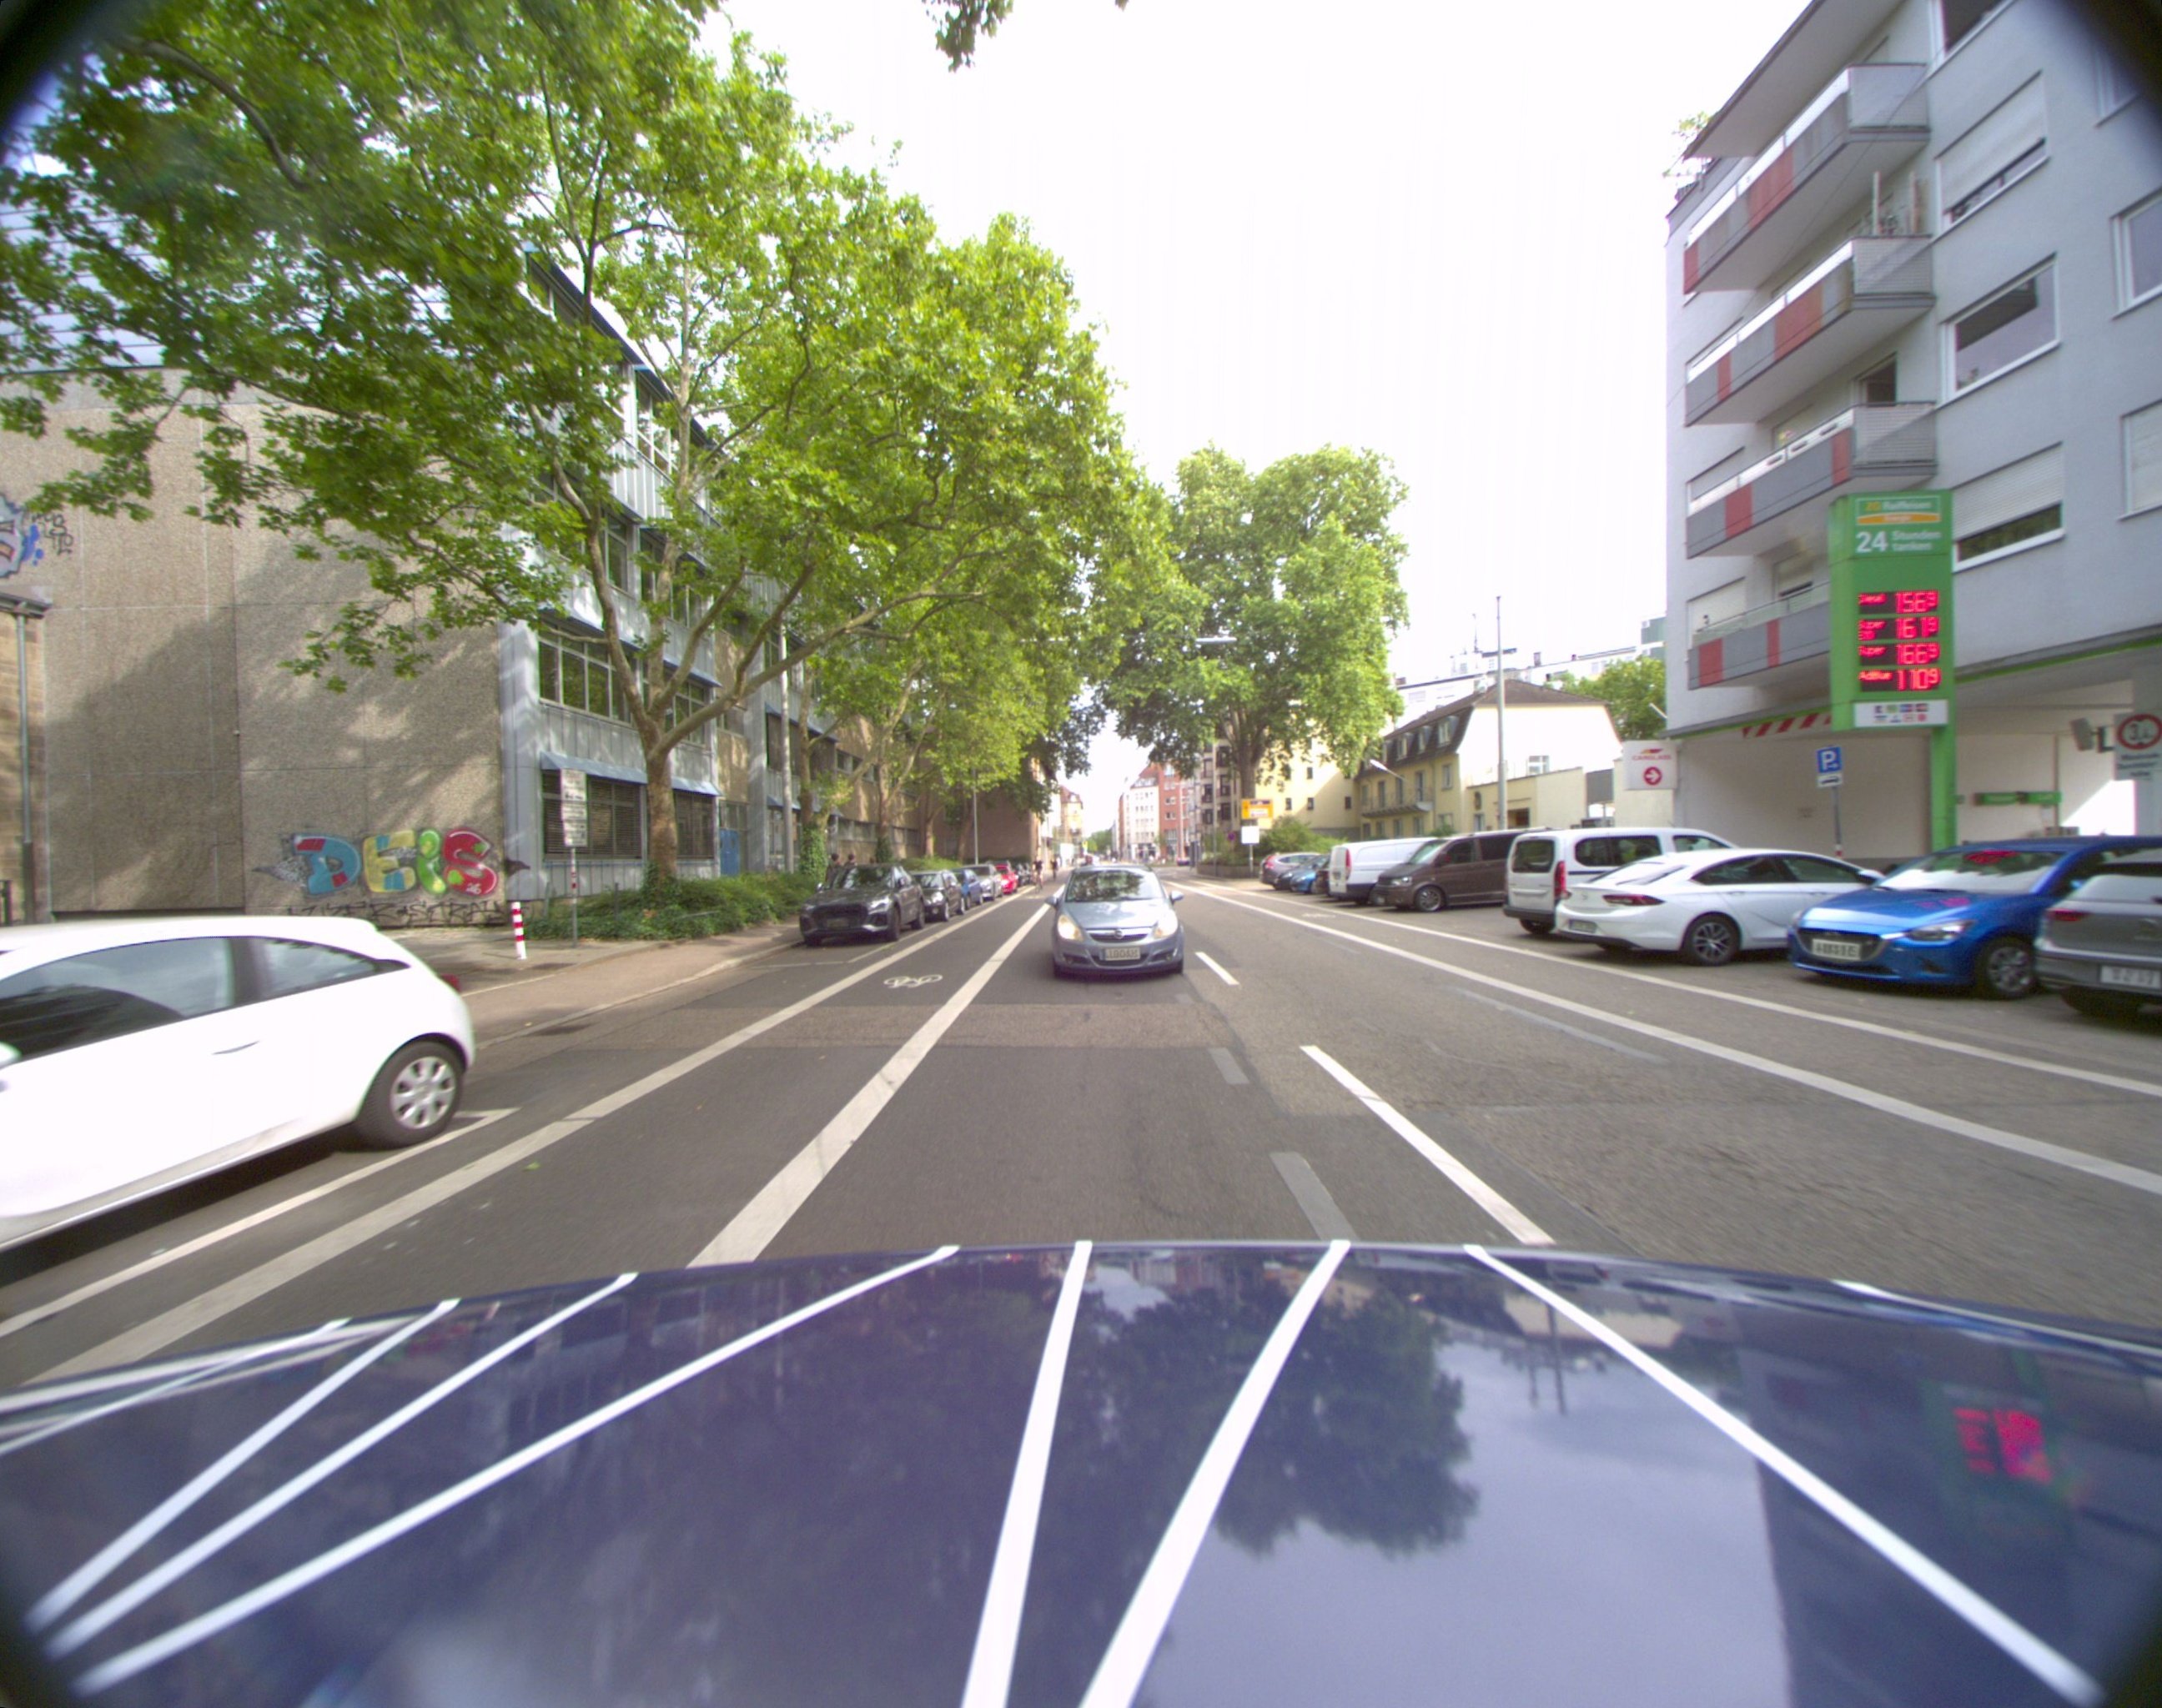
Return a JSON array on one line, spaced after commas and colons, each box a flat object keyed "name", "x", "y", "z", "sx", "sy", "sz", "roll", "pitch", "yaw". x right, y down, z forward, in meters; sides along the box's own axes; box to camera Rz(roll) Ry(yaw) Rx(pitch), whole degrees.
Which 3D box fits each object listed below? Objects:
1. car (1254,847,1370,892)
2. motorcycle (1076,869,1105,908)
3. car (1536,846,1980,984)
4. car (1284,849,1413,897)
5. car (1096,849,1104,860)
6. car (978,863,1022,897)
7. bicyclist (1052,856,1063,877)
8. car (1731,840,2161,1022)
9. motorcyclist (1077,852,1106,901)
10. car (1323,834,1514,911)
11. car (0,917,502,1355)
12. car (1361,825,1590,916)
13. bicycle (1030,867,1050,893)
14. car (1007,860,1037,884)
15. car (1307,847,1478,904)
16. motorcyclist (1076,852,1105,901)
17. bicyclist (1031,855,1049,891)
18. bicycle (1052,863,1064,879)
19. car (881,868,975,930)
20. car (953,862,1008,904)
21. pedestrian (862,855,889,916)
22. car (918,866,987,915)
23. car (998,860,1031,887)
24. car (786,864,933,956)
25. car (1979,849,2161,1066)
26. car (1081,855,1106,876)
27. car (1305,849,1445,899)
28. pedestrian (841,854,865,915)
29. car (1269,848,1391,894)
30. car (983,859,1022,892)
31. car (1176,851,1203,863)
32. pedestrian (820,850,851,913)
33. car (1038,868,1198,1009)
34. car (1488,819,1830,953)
[{"name": "car", "x": 10.134, "y": 0.670, "z": 33.571, "sx": 4.529, "sy": 1.596, "sz": 1.754, "roll": -4, "pitch": 0, "yaw": 2}, {"name": "motorcycle", "x": 0.322, "y": 1.124, "z": 25.554, "sx": 0.904, "sy": 1.190, "sz": 2.630, "roll": -1, "pitch": 0, "yaw": 1}, {"name": "car", "x": 8.930, "y": 0.756, "z": 10.341, "sx": 4.281, "sy": 1.442, "sz": 1.874, "roll": -4, "pitch": 0, "yaw": 1}, {"name": "car", "x": 10.190, "y": 0.698, "z": 29.127, "sx": 4.276, "sy": 1.502, "sz": 1.719, "roll": -4, "pitch": 0, "yaw": 2}, {"name": "car", "x": 4.526, "y": 0.132, "z": 181.409, "sx": 1.998, "sy": 2.546, "sz": 4.799, "roll": -2, "pitch": 0, "yaw": 1}, {"name": "car", "x": -3.931, "y": 1.237, "z": 37.522, "sx": 1.602, "sy": 1.438, "sz": 4.105, "roll": -3, "pitch": 0, "yaw": 1}, {"name": "bicyclist", "x": -1.808, "y": 0.955, "z": 59.424, "sx": 0.749, "sy": 1.590, "sz": 0.819, "roll": -2, "pitch": 1, "yaw": 1}, {"name": "car", "x": 9.848, "y": 0.705, "z": 7.973, "sx": 4.311, "sy": 1.442, "sz": 1.910, "roll": -4, "pitch": 0, "yaw": 1}, {"name": "motorcyclist", "x": 0.360, "y": 0.756, "z": 25.642, "sx": 0.904, "sy": 1.608, "sz": 0.691, "roll": -1, "pitch": 1, "yaw": 0}, {"name": "car", "x": 9.731, "y": 0.515, "z": 22.200, "sx": 4.627, "sy": 1.848, "sz": 1.950, "roll": -4, "pitch": 0, "yaw": 2}, {"name": "car", "x": -4.950, "y": 1.203, "z": 3.122, "sx": 1.758, "sy": 1.438, "sz": 4.218, "roll": -3, "pitch": 0, "yaw": 1}, {"name": "car", "x": 10.086, "y": 0.421, "z": 19.727, "sx": 4.778, "sy": 1.923, "sz": 1.994, "roll": -4, "pitch": 0, "yaw": 2}, {"name": "bicycle", "x": -1.980, "y": 1.257, "z": 36.864, "sx": 0.763, "sy": 1.162, "sz": 1.950, "roll": -2, "pitch": 0, "yaw": 1}, {"name": "car", "x": -4.017, "y": 1.208, "z": 52.346, "sx": 1.602, "sy": 1.516, "sz": 3.956, "roll": -3, "pitch": 0, "yaw": 1}, {"name": "car", "x": 9.979, "y": 0.674, "z": 24.636, "sx": 4.716, "sy": 1.461, "sz": 1.874, "roll": -4, "pitch": 0, "yaw": 2}, {"name": "motorcyclist", "x": 0.318, "y": 0.757, "z": 25.554, "sx": 0.904, "sy": 1.608, "sz": 0.691, "roll": -1, "pitch": 1, "yaw": 0}, {"name": "bicyclist", "x": -1.986, "y": 0.909, "z": 36.882, "sx": 0.764, "sy": 1.699, "sz": 0.917, "roll": -2, "pitch": 1, "yaw": 1}, {"name": "bicycle", "x": -1.804, "y": 1.323, "z": 59.421, "sx": 0.763, "sy": 1.162, "sz": 1.950, "roll": -2, "pitch": 0, "yaw": 1}, {"name": "car", "x": -4.326, "y": 1.219, "z": 22.182, "sx": 1.643, "sy": 1.424, "sz": 4.573, "roll": -3, "pitch": 0, "yaw": 1}, {"name": "car", "x": -4.175, "y": 1.160, "z": 32.159, "sx": 1.602, "sy": 1.496, "sz": 4.440, "roll": -3, "pitch": 0, "yaw": 1}, {"name": "pedestrian", "x": -6.088, "y": 0.931, "z": 22.506, "sx": 0.592, "sy": 1.775, "sz": 0.476, "roll": 2, "pitch": 1, "yaw": 0}, {"name": "car", "x": -4.417, "y": 1.220, "z": 26.684, "sx": 1.602, "sy": 1.414, "sz": 3.956, "roll": -3, "pitch": 0, "yaw": 1}, {"name": "car", "x": -4.136, "y": 1.192, "z": 47.635, "sx": 1.602, "sy": 1.516, "sz": 3.956, "roll": -3, "pitch": 0, "yaw": 1}, {"name": "car", "x": -4.714, "y": 1.112, "z": 16.911, "sx": 1.926, "sy": 1.612, "sz": 4.480, "roll": -3, "pitch": 0, "yaw": -1}, {"name": "car", "x": 9.971, "y": 0.675, "z": 5.704, "sx": 4.161, "sy": 1.504, "sz": 1.837, "roll": -4, "pitch": 0, "yaw": 1}, {"name": "car", "x": 1.027, "y": 0.952, "z": 64.538, "sx": 2.000, "sy": 1.556, "sz": 4.551, "roll": -2, "pitch": 0, "yaw": 1}, {"name": "car", "x": 10.323, "y": 0.687, "z": 26.867, "sx": 4.202, "sy": 1.443, "sz": 1.719, "roll": -4, "pitch": 0, "yaw": 2}, {"name": "pedestrian", "x": -6.708, "y": 0.887, "z": 22.385, "sx": 0.502, "sy": 1.775, "sz": 0.527, "roll": 2, "pitch": 1, "yaw": 0}, {"name": "car", "x": 10.182, "y": 0.685, "z": 31.256, "sx": 4.372, "sy": 1.540, "sz": 1.733, "roll": -4, "pitch": 0, "yaw": 2}, {"name": "car", "x": -4.416, "y": 1.162, "z": 43.091, "sx": 1.651, "sy": 1.655, "sz": 3.797, "roll": -3, "pitch": 0, "yaw": 1}, {"name": "car", "x": 16.648, "y": 0.387, "z": 116.300, "sx": 1.967, "sy": 1.660, "sz": 4.560, "roll": -2, "pitch": 0, "yaw": 38}, {"name": "pedestrian", "x": -7.308, "y": 0.811, "z": 22.615, "sx": 0.644, "sy": 1.823, "sz": 0.645, "roll": 2, "pitch": 1, "yaw": 0}, {"name": "car", "x": 0.437, "y": 0.968, "z": 10.450, "sx": 1.716, "sy": 1.412, "sz": 4.253, "roll": -2, "pitch": 0, "yaw": 1}, {"name": "car", "x": 9.595, "y": 0.510, "z": 12.905, "sx": 4.221, "sy": 1.837, "sz": 1.924, "roll": -4, "pitch": 0, "yaw": 1}]
